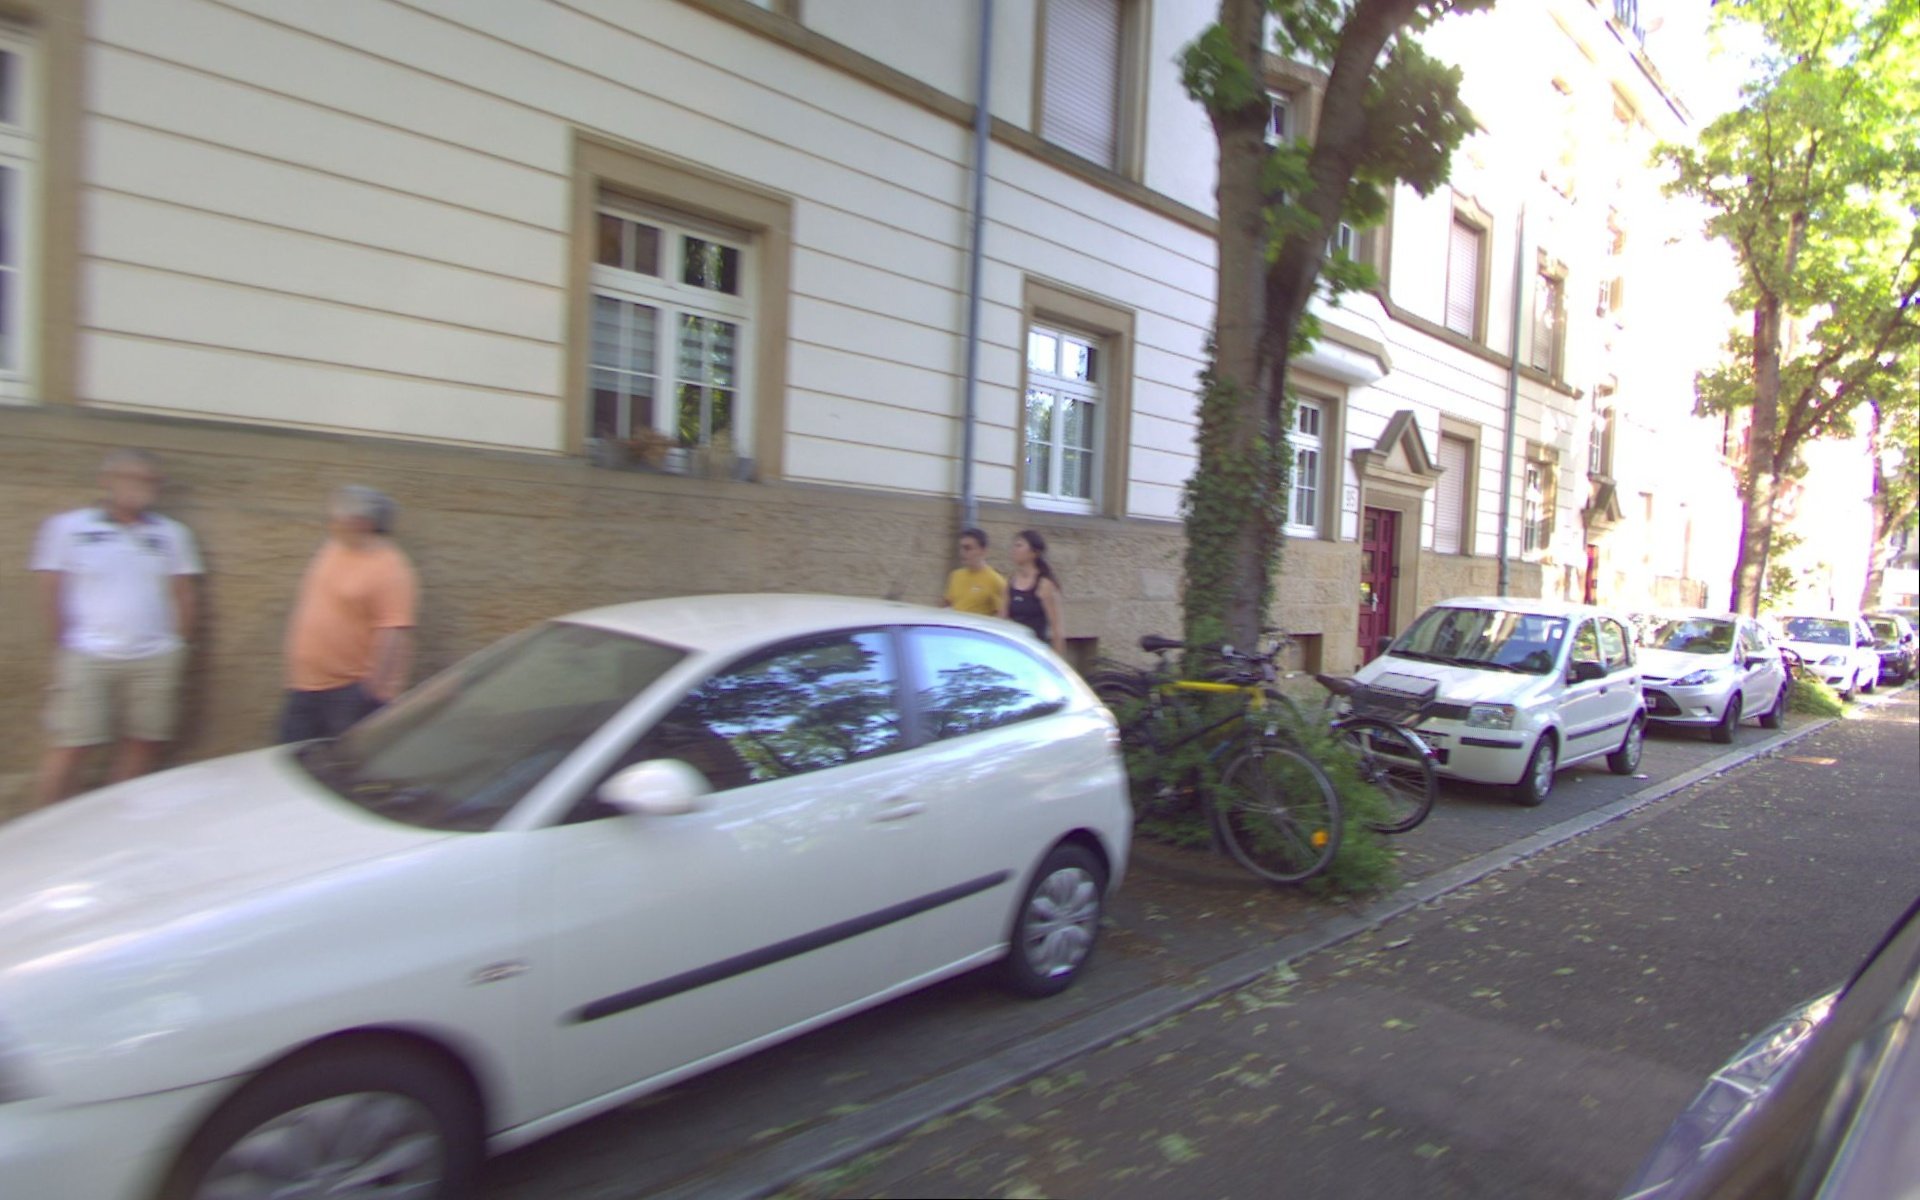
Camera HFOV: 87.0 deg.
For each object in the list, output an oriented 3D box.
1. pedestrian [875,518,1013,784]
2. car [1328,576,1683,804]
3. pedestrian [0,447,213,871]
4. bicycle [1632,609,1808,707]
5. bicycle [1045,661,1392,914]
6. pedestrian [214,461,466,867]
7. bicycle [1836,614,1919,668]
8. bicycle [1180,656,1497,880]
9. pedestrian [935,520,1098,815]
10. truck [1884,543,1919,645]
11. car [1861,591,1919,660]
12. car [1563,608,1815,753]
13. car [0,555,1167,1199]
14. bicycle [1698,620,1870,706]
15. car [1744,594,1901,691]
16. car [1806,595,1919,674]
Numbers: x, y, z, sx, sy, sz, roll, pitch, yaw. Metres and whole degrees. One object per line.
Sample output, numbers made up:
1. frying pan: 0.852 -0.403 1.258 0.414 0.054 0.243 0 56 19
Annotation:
1. pedestrian: -0.112 0.319 6.983 0.676 1.722 0.597 1 2 -40
2. car: 4.799 0.616 8.726 3.481 1.529 1.523 0 2 -41
3. pedestrian: -3.820 0.229 4.499 0.744 1.726 0.490 0 3 -42
4. bicycle: 11.590 0.841 15.501 0.746 1.244 1.974 1 4 -40
5. bicycle: 1.350 0.925 5.580 0.720 0.961 1.719 1 3 -40
6. pedestrian: -2.962 0.245 4.830 0.860 1.714 0.779 0 4 -44
7. bicycle: 23.454 1.025 25.601 0.559 1.181 1.815 1 4 -41
8. bicycle: 2.289 0.956 6.330 0.595 1.052 1.773 1 1 -40
9. pedestrian: 0.366 0.394 6.498 0.862 1.756 0.521 1 2 -40
10. truck: 31.204 -0.117 32.087 6.004 3.004 2.078 0 5 -42
11. car: 26.461 0.682 27.927 4.860 1.737 1.888 0 3 -43
12. car: 9.160 0.862 12.594 4.085 1.411 1.625 0 3 -41
13. car: -1.093 0.666 3.263 1.612 1.496 3.808 4 2 44
14. bicycle: 13.025 0.959 16.061 0.589 1.086 1.974 1 4 -40
15. car: 15.717 0.696 18.383 3.683 1.506 1.600 0 3 -41
16. car: 20.304 0.691 22.424 4.383 1.532 1.789 0 2 -42
